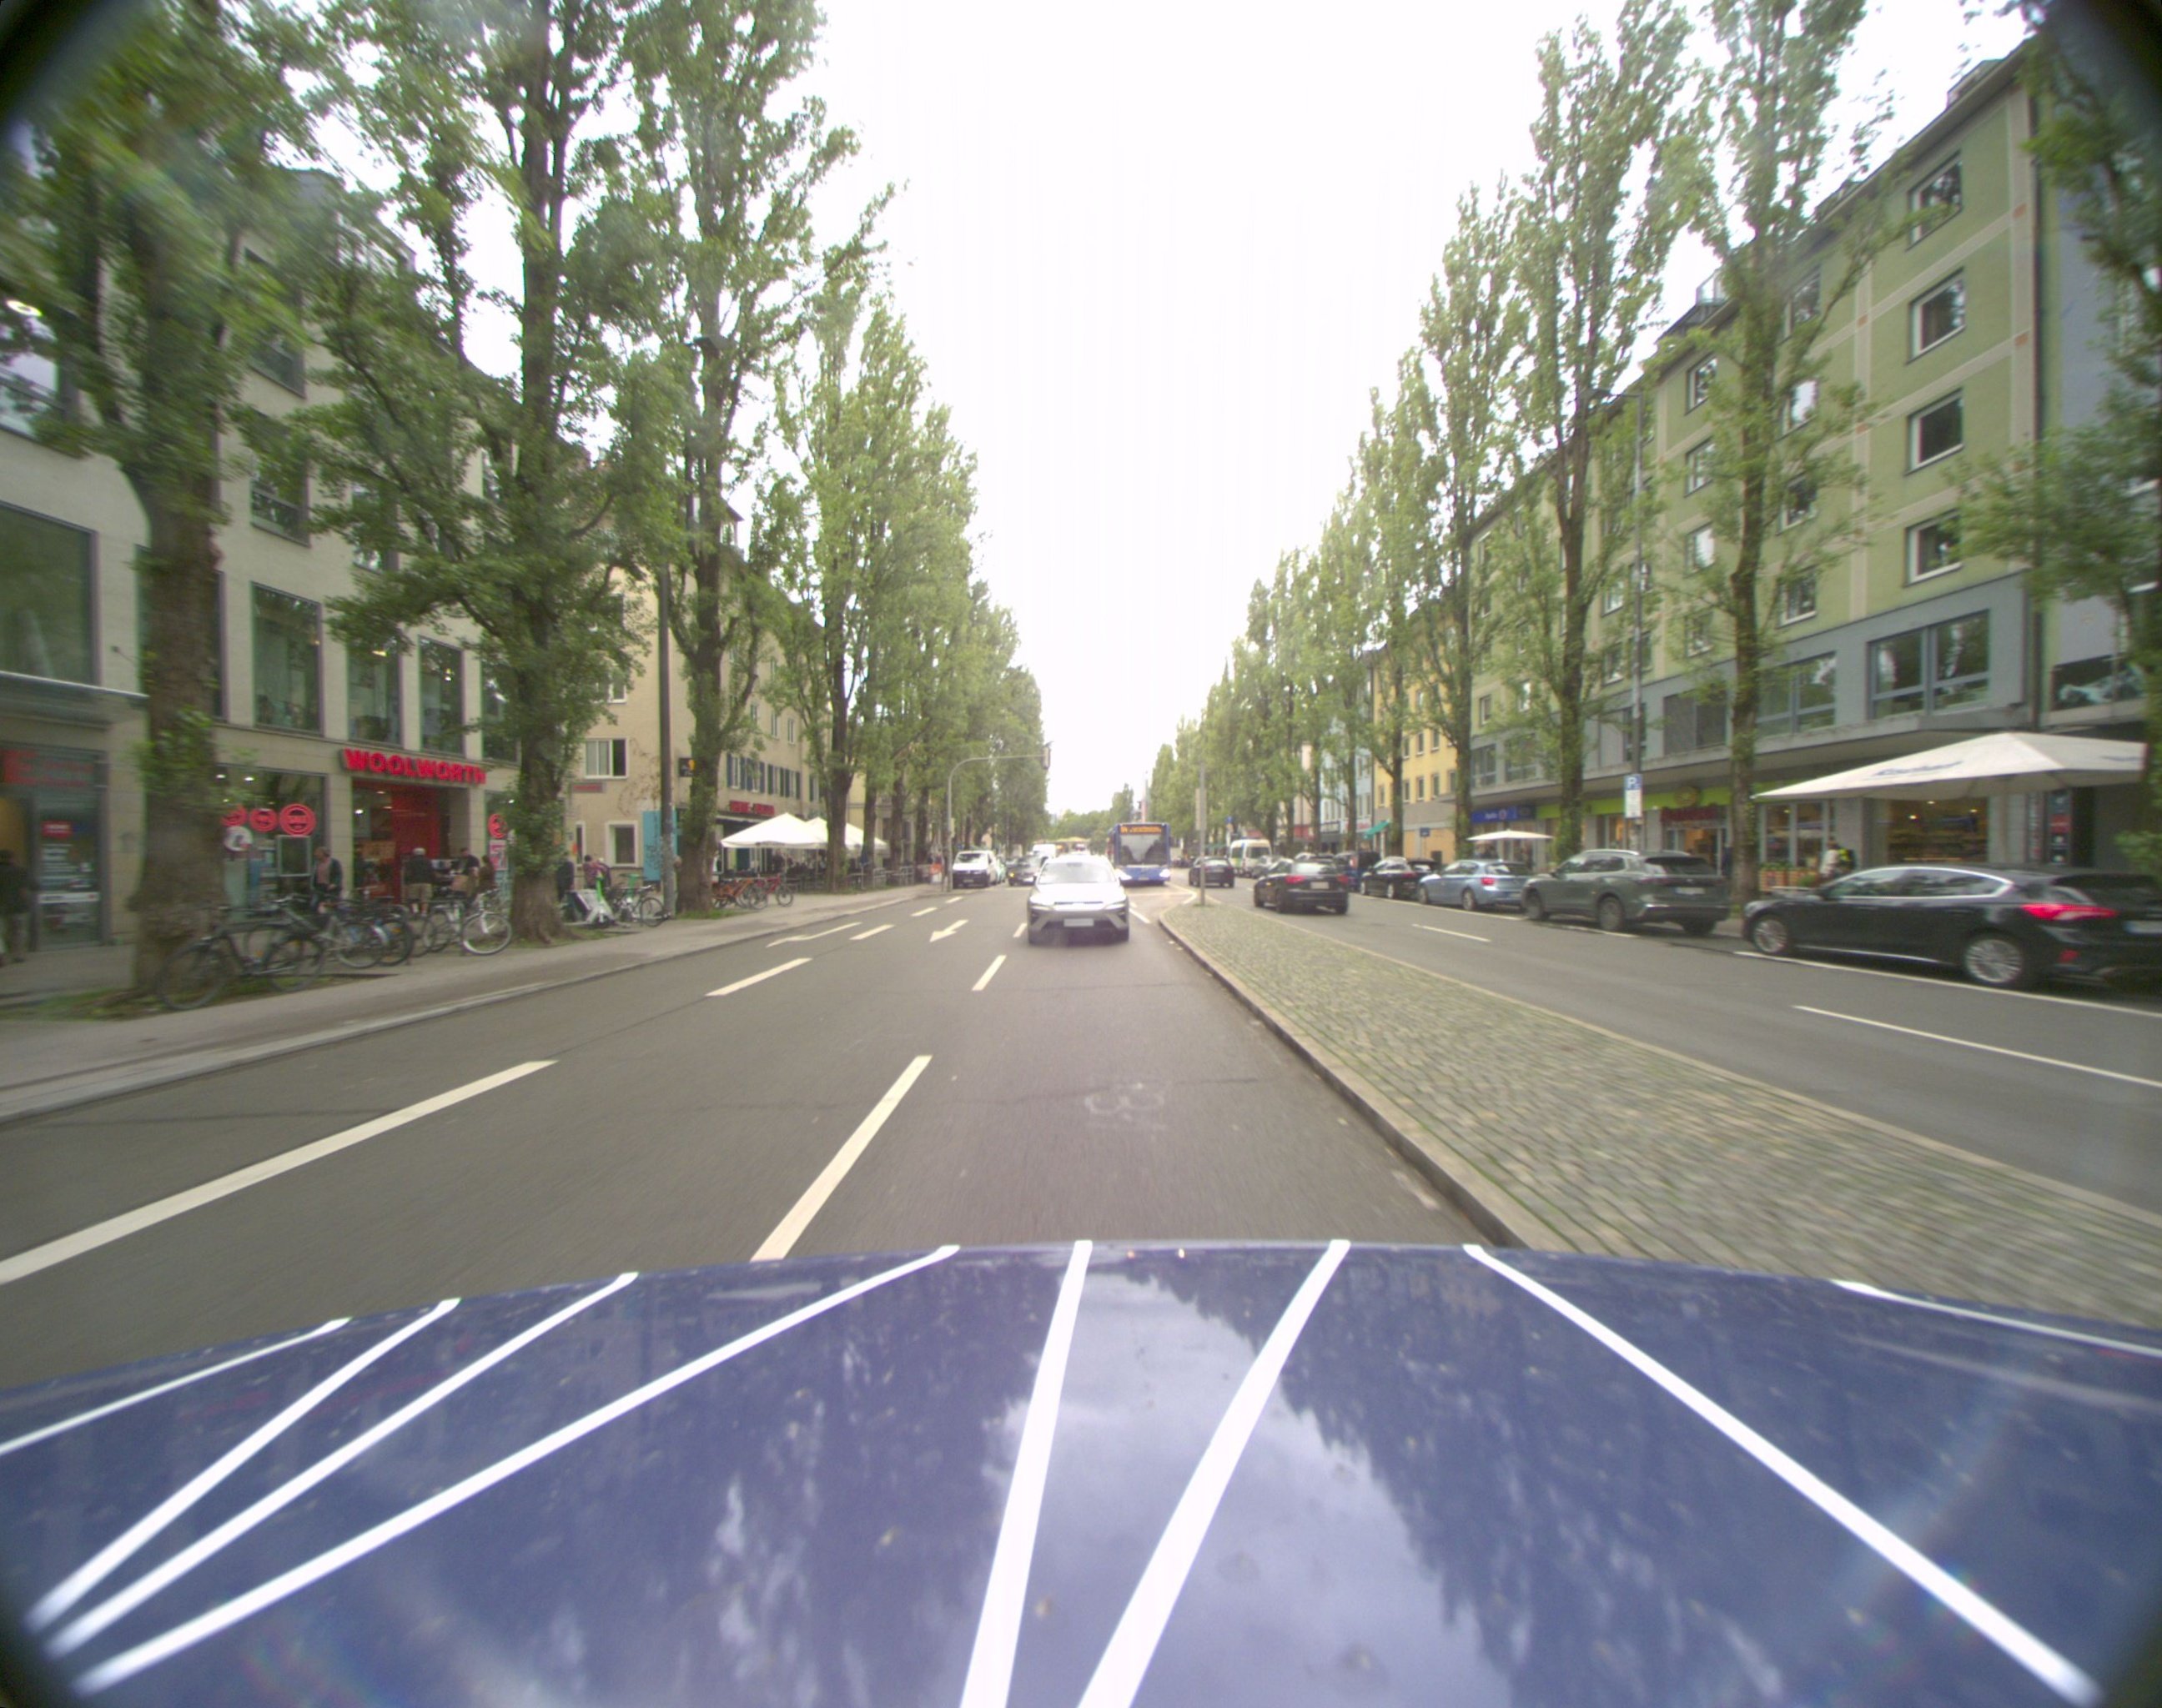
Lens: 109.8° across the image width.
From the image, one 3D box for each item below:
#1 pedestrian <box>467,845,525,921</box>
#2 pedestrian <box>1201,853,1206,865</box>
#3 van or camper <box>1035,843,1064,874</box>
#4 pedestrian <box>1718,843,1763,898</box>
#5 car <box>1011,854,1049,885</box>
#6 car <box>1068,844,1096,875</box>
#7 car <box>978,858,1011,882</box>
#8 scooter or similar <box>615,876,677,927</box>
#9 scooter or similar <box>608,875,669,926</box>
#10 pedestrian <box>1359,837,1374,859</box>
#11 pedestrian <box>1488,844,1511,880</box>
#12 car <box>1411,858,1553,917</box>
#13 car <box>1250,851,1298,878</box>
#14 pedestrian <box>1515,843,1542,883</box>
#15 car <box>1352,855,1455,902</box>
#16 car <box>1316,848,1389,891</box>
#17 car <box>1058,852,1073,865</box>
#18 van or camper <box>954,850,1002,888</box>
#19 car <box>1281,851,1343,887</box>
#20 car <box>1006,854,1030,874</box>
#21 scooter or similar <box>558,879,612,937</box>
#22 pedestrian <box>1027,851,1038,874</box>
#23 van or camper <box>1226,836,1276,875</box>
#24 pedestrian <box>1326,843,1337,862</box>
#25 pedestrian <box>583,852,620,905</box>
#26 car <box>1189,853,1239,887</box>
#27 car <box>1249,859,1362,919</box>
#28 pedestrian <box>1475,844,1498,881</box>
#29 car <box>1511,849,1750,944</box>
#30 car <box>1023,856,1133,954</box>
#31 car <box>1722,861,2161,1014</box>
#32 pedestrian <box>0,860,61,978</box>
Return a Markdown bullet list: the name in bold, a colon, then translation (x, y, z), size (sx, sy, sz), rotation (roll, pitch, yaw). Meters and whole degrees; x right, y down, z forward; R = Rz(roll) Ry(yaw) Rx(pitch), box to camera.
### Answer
- **pedestrian**: translation (-14.546, 0.702, 18.901), size (0.753, 1.859, 0.821), rotation (0, 1, 4)
- **pedestrian**: translation (15.054, 0.617, 93.353), size (0.609, 1.580, 0.551), rotation (0, 1, 12)
- **van or camper**: translation (-2.622, 0.353, 64.737), size (1.998, 2.470, 6.643), rotation (-1, 0, 1)
- **pedestrian**: translation (20.088, 0.492, 23.168), size (0.710, 1.663, 0.756), rotation (-1, 1, 1)
- **car**: translation (-2.737, 0.827, 41.746), size (1.758, 1.529, 3.916), rotation (-2, 0, 0)
- **car**: translation (0.086, 0.410, 58.612), size (2.025, 2.235, 4.410), rotation (-2, 0, 0)
- **car**: translation (-5.184, 0.935, 45.880), size (1.476, 1.389, 3.483), rotation (-1, 0, 1)
- **scooter or similar**: translation (-10.744, 1.159, 18.790), size (0.285, 1.163, 1.246), rotation (-1, 2, 43)
- **scooter or similar**: translation (-11.042, 1.146, 18.997), size (0.306, 1.163, 1.246), rotation (-1, 2, 40)
- **pedestrian**: translation (18.435, -0.375, 49.104), size (0.769, 1.430, 0.551), rotation (-1, 1, -4)
- **pedestrian**: translation (20.502, 0.386, 37.226), size (0.749, 1.784, 0.716), rotation (-1, 1, 1)
- **car**: translation (11.215, 0.864, 21.654), size (1.662, 1.409, 4.400), rotation (1, 1, -1)
- **car**: translation (11.692, 0.623, 46.255), size (1.707, 1.520, 4.260), rotation (1, 1, -1)
- **pedestrian**: translation (19.052, 0.377, 32.355), size (0.723, 1.641, 0.712), rotation (-1, 1, 1)
- **car**: translation (11.229, 0.807, 26.834), size (1.707, 1.438, 4.585), rotation (0, 1, 1)
- **car**: translation (11.578, 0.633, 32.660), size (1.622, 1.677, 3.770), rotation (2, 1, -2)
- **car**: translation (-1.842, 0.515, 91.007), size (1.758, 1.529, 3.916), rotation (-2, 0, 0)
- **van or camper**: translation (-5.408, 0.731, 40.398), size (1.795, 1.894, 4.565), rotation (-1, 0, 1)
- **car**: translation (11.392, 0.692, 37.744), size (1.707, 1.623, 4.502), rotation (1, 1, 1)
- **car**: translation (-4.878, 0.755, 59.263), size (1.476, 1.518, 3.602), rotation (-1, 0, 1)
- **scooter or similar**: translation (-10.639, 1.142, 16.293), size (1.241, 1.163, 0.404), rotation (0, 2, 30)
- **pedestrian**: translation (-3.747, 0.648, 58.998), size (0.790, 1.747, 0.769), rotation (-1, 1, -1)
- **van or camper**: translation (11.781, 0.113, 53.196), size (2.131, 2.536, 6.643), rotation (-1, 0, 1)
- **pedestrian**: translation (18.834, -0.139, 57.171), size (0.649, 1.430, 0.551), rotation (-1, 1, -4)
- **pedestrian**: translation (-14.196, 0.715, 22.503), size (0.566, 1.511, 0.697), rotation (-1, 1, 4)
- **car**: translation (6.278, 0.709, 36.374), size (1.761, 1.457, 4.050), rotation (1, 1, 2)
- **car**: translation (5.934, 0.863, 20.612), size (1.841, 1.353, 4.176), rotation (1, 0, 1)
- **pedestrian**: translation (19.874, 0.408, 37.224), size (0.749, 1.784, 0.716), rotation (-1, 1, 1)
- **car**: translation (11.201, 0.751, 15.990), size (1.784, 1.671, 4.586), rotation (1, 1, 2)
- **car**: translation (-0.048, 0.850, 14.475), size (1.758, 1.529, 3.916), rotation (-2, 0, 0)
- **car**: translation (11.086, 0.876, 9.924), size (1.681, 1.458, 4.369), rotation (1, 1, -1)
- **pedestrian**: translation (-15.820, 0.942, 11.192), size (0.659, 1.700, 0.690), rotation (-1, 1, -23)
